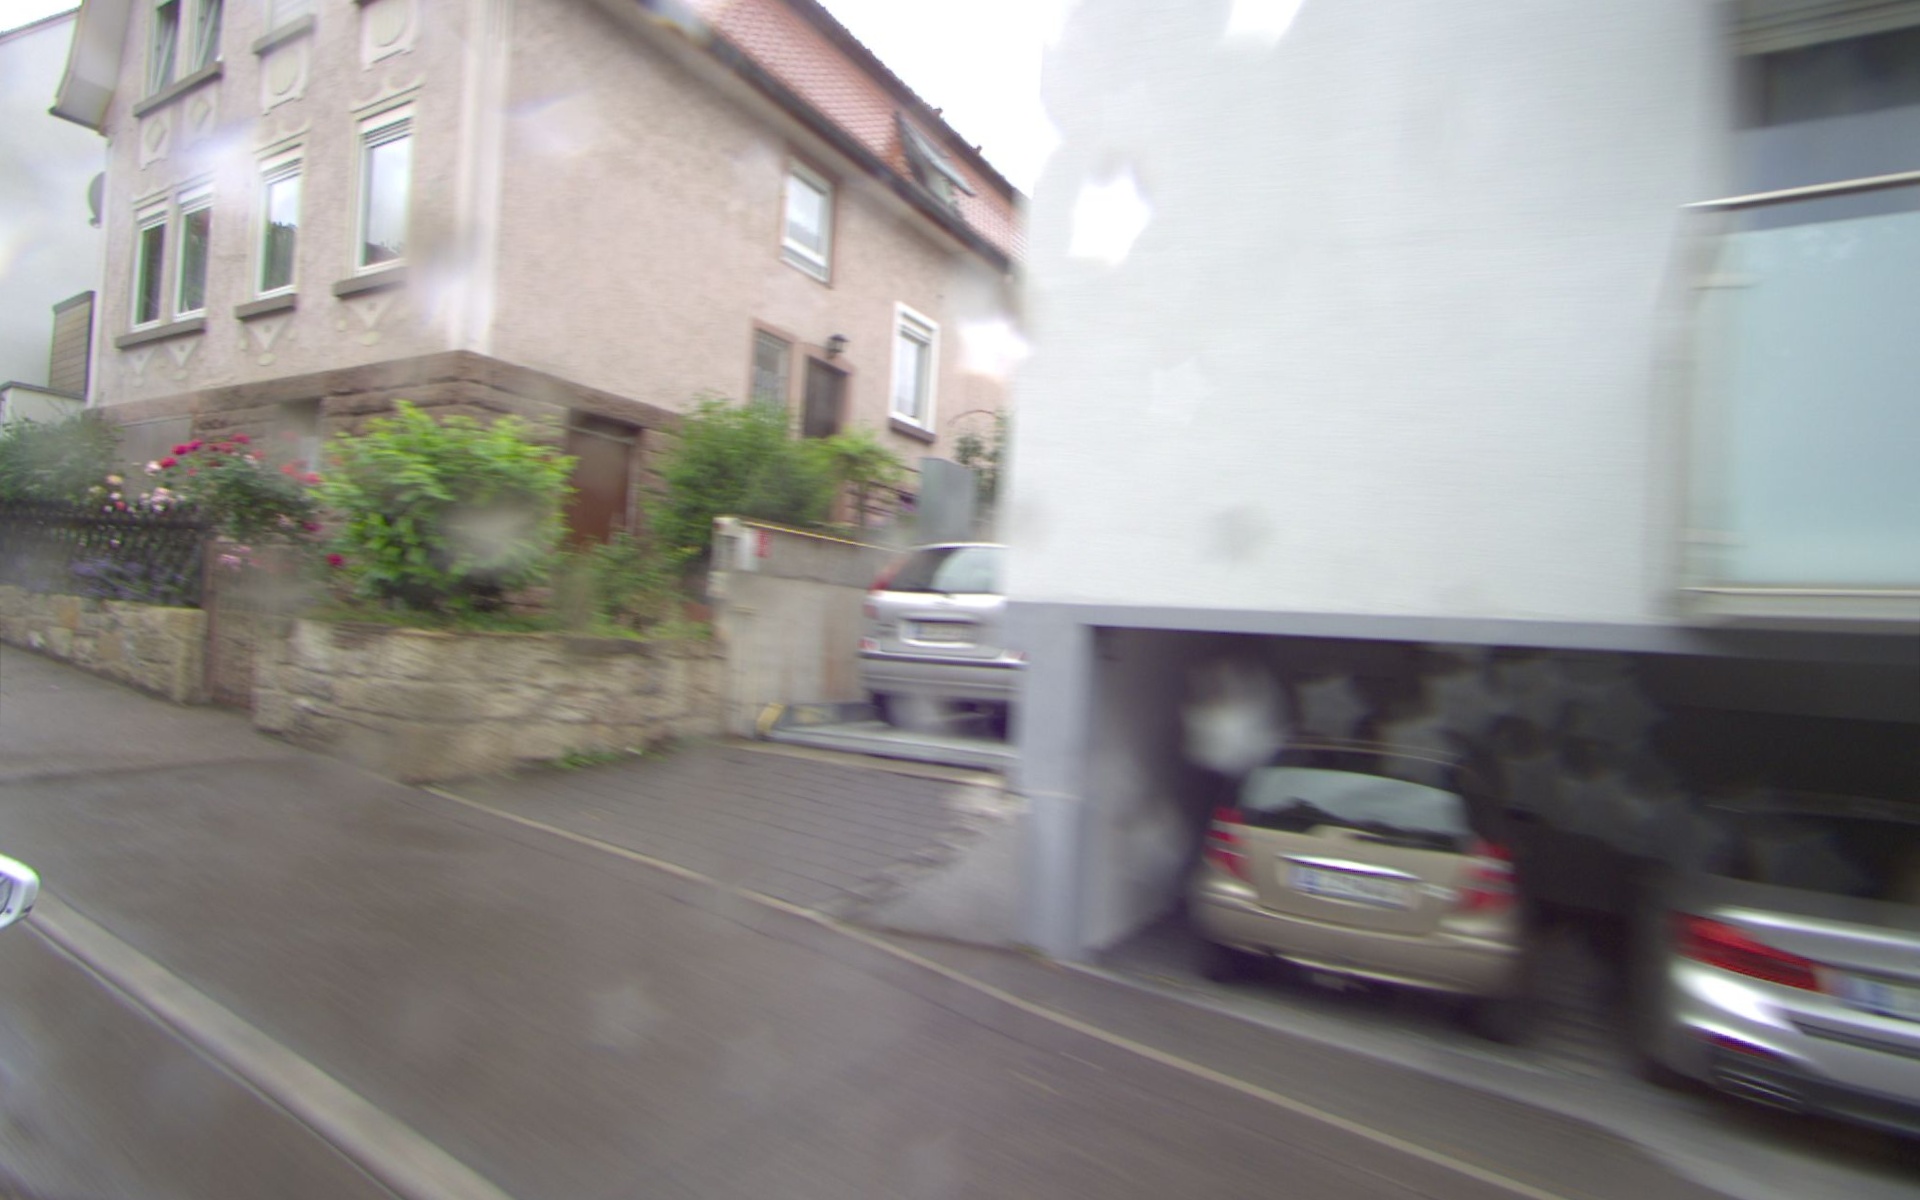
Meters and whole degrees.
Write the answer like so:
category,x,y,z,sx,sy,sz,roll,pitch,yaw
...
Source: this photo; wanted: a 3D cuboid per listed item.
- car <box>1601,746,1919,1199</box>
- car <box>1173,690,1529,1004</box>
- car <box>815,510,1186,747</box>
category,x,y,z,sx,sy,sz,roll,pitch,yaw
car,4.700,1.730,5.584,1.727,1.460,4.476,2,-3,31
car,2.980,1.414,7.072,1.653,1.320,3.980,6,-2,30
car,0.624,0.327,9.377,1.781,1.605,3.997,6,-2,28
